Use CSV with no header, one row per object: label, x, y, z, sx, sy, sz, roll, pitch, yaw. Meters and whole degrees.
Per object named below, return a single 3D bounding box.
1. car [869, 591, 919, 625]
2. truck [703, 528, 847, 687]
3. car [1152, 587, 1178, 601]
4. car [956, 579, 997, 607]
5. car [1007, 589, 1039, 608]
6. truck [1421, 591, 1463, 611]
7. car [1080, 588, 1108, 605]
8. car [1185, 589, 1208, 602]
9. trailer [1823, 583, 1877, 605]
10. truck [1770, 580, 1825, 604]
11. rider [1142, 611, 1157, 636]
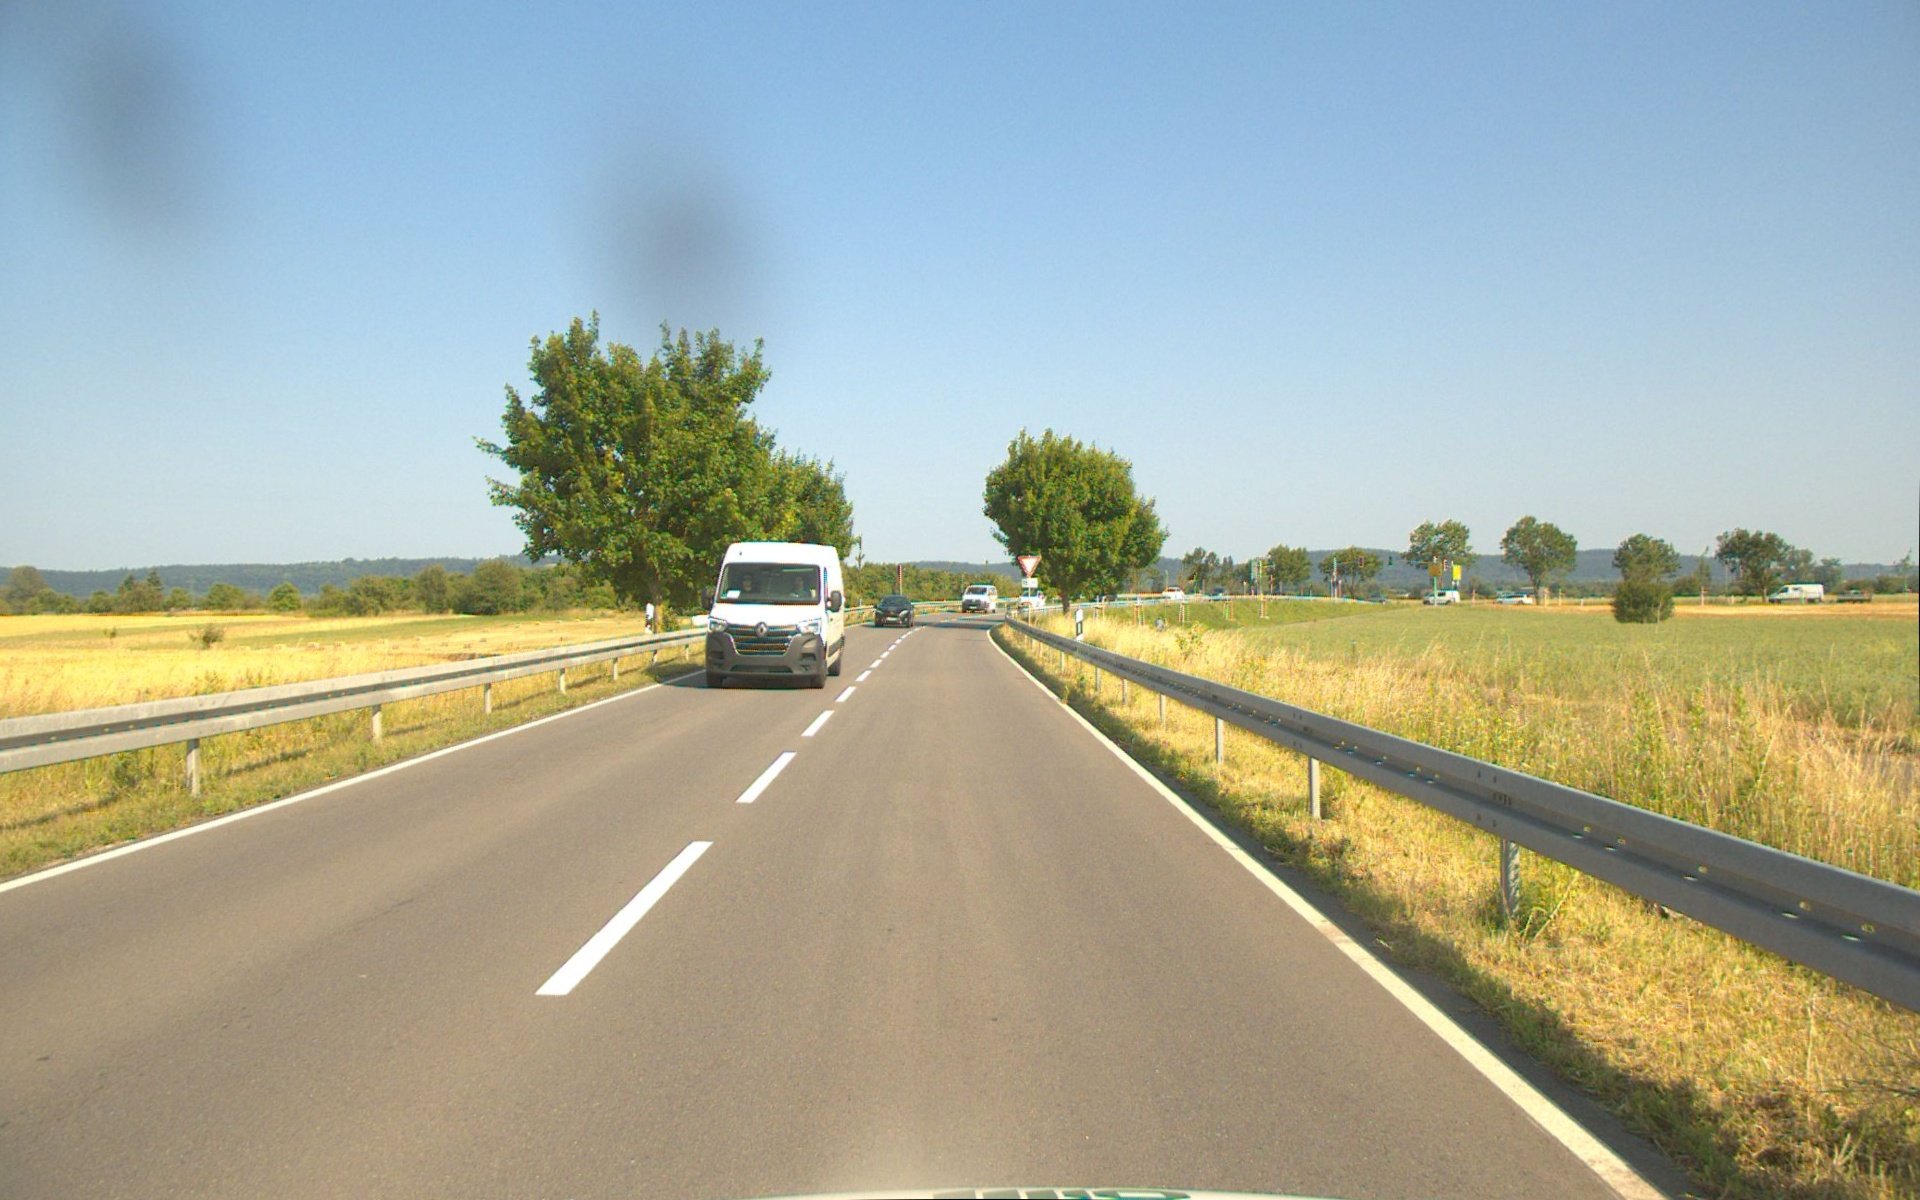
car,-3.026,0.368,76.692,1.609,1.497,3.810,1,0,9
truck,-3.201,0.119,29.837,1.953,2.564,6.243,0,0,-1
car,22.596,-0.645,181.952,1.952,1.559,4.593,1,0,19
car,1.202,-0.496,117.557,1.951,1.917,4.595,1,0,12
car,5.206,-0.121,136.485,1.861,1.559,4.595,1,0,12
truck,64.201,0.093,220.301,4.963,2.573,1.993,1,-1,35
car,12.949,-0.323,159.802,1.951,1.559,4.595,1,0,15
car,29.092,-0.524,203.459,1.952,1.559,4.593,1,0,19
trailer,103.326,-0.676,192.016,5.345,2.395,3.347,1,-1,32
truck,98.717,-0.928,194.939,5.479,2.742,3.286,1,-1,32
rider,12.399,1.535,108.039,0.596,1.554,1.826,1,-1,18
